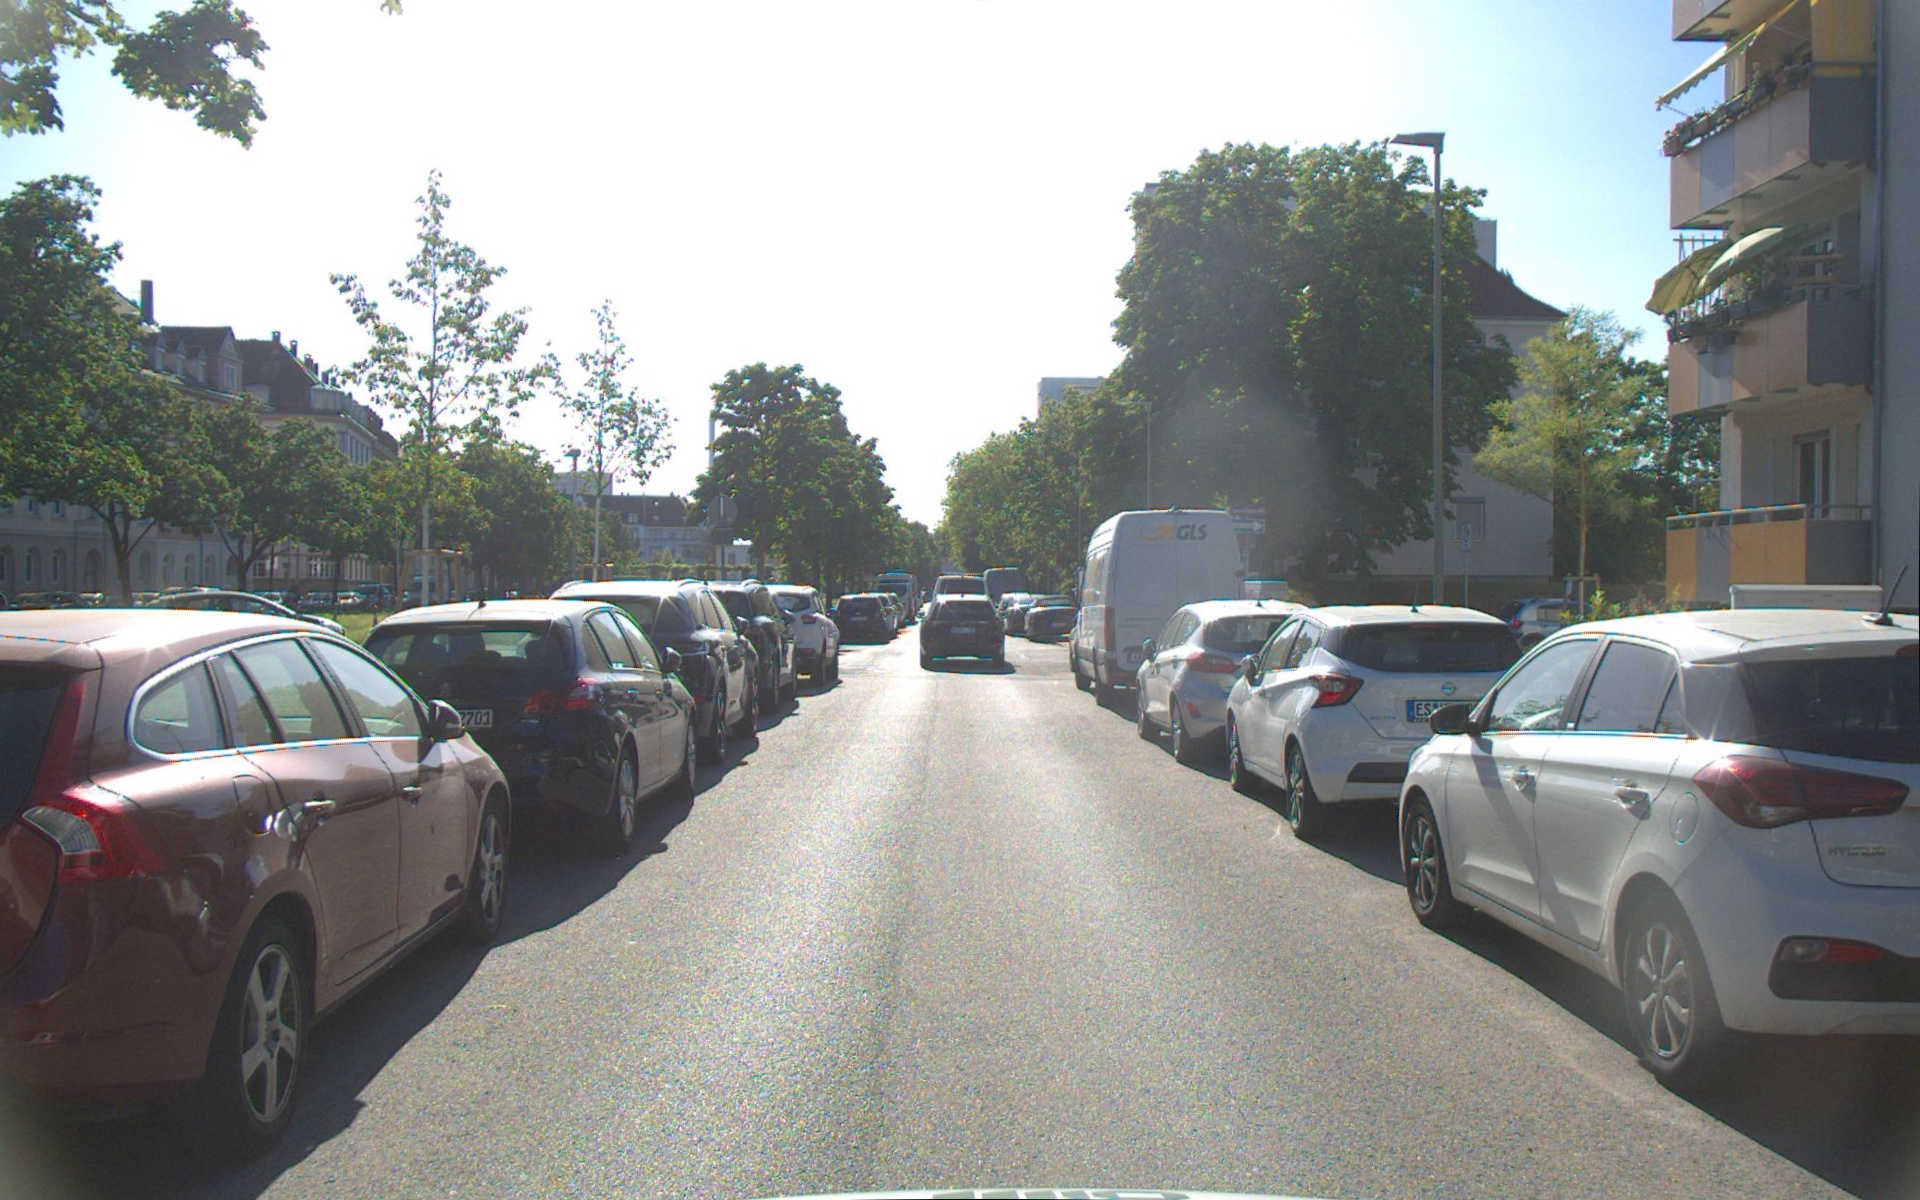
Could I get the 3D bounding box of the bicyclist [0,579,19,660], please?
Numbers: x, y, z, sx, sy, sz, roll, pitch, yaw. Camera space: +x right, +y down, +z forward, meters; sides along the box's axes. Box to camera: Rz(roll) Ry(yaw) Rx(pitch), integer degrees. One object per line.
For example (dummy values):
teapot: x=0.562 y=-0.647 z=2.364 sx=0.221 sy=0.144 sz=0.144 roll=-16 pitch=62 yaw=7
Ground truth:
bicyclist: x=-20.815 y=0.415 z=35.597 sx=0.863 sy=1.720 sz=0.628 roll=-1 pitch=0 yaw=-20

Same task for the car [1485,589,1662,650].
car: x=15.175 y=0.461 z=41.005 sx=3.810 sy=1.454 sz=1.657 roll=0 pitch=0 yaw=-4

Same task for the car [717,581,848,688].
car: x=-3.003 y=0.536 z=28.736 sx=1.720 sy=1.676 sz=4.287 roll=-2 pitch=0 yaw=0

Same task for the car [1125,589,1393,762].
car: x=2.871 y=0.661 z=16.809 sx=1.812 sy=1.491 sz=4.200 roll=1 pitch=1 yaw=-2

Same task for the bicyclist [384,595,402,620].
bicyclist: x=-33.599 y=0.436 z=97.952 sx=0.723 sy=1.463 sz=0.942 roll=-1 pitch=-1 yaw=-1

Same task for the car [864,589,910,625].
car: x=-3.178 y=0.277 z=73.036 sx=1.795 sy=1.526 sz=4.127 roll=0 pitch=0 yaw=1

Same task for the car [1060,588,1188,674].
car: x=3.135 y=0.556 z=32.437 sx=1.919 sy=1.507 sz=4.498 roll=-2 pitch=0 yaw=-1

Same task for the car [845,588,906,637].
car: x=-2.793 y=0.396 z=55.313 sx=1.740 sy=1.521 sz=3.875 roll=-2 pitch=0 yaw=0

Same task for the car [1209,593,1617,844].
car: x=3.065 y=0.713 z=12.126 sx=1.839 sy=1.501 sz=4.140 roll=0 pitch=0 yaw=0

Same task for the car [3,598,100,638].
car: x=-37.791 y=0.725 z=68.903 sx=1.721 sy=1.576 sz=4.525 roll=0 pitch=0 yaw=-3

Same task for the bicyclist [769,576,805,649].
bicyclist: x=-3.883 y=0.280 z=37.183 sx=0.773 sy=1.624 sz=0.696 roll=0 pitch=0 yaw=-4

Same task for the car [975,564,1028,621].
car: x=2.017 y=-0.365 z=82.081 sx=2.120 sy=2.736 sz=5.412 roll=0 pitch=0 yaw=-4

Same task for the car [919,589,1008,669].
car: x=0.096 y=0.567 z=35.143 sx=1.743 sy=1.558 sz=4.000 roll=1 pitch=0 yaw=1

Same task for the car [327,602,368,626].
car: x=-38.122 y=0.877 z=103.041 sx=1.487 sy=1.465 sz=3.230 roll=0 pitch=0 yaw=-3

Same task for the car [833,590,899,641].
car: x=-2.858 y=0.475 z=50.791 sx=1.712 sy=1.449 sz=3.916 roll=-2 pitch=0 yaw=0

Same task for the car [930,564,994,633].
car: x=0.083 y=-0.063 z=52.005 sx=1.855 sy=2.026 sz=4.010 roll=-2 pitch=0 yaw=1

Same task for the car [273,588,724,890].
car: x=-2.788 y=0.726 z=11.101 sx=1.835 sy=1.546 sz=4.469 roll=-2 pitch=0 yaw=-2

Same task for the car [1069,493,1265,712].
car: x=2.898 y=0.005 z=24.778 sx=2.098 sy=2.760 sz=6.842 roll=-2 pitch=0 yaw=1

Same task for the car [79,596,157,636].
car: x=-37.839 y=0.692 z=74.455 sx=1.599 sy=1.716 sz=4.079 roll=0 pitch=0 yaw=-3

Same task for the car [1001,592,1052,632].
car: x=2.403 y=0.411 z=60.543 sx=1.743 sy=1.395 sz=4.127 roll=0 pitch=0 yaw=0

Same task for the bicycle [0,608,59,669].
bicycle: x=-20.688 y=0.831 z=35.655 sx=2.116 sy=1.280 sz=0.710 roll=0 pitch=0 yaw=-21

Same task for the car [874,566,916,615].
car: x=-3.434 y=-0.495 z=87.908 sx=2.055 sy=2.540 sz=4.127 roll=0 pitch=0 yaw=1

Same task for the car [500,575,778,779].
car: x=-2.931 y=0.624 z=16.129 sx=1.782 sy=1.638 sz=4.738 roll=-2 pitch=0 yaw=-1

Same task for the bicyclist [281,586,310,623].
bicyclist: x=-34.585 y=0.240 z=86.083 sx=0.922 sy=1.869 sz=1.449 roll=-1 pitch=-1 yaw=-2

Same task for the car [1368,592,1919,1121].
car: x=3.038 y=0.712 z=6.749 sx=1.686 sy=1.460 sz=4.152 roll=-1 pitch=0 yaw=0

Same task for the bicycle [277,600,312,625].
bicycle: x=-34.601 y=0.659 z=86.032 sx=0.793 sy=1.274 sz=2.634 roll=-1 pitch=-1 yaw=-1

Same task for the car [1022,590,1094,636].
car: x=3.184 y=0.395 z=54.597 sx=2.081 sy=1.361 sz=4.506 roll=-3 pitch=0 yaw=0

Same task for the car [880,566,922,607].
car: x=-4.012 y=-0.911 z=113.357 sx=2.563 sy=2.691 sz=6.114 roll=0 pitch=0 yaw=1

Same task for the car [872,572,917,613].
car: x=-3.212 y=-0.392 z=81.501 sx=2.055 sy=1.976 sz=4.126 roll=0 pitch=0 yaw=0

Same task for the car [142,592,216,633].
car: x=-37.965 y=0.583 z=80.499 sx=1.702 sy=1.941 sz=4.458 roll=0 pitch=0 yaw=-3

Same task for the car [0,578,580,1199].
car: x=-2.711 y=0.719 z=5.933 sx=1.720 sy=1.518 sz=4.666 roll=-2 pitch=0 yaw=-2

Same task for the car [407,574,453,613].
car: x=-38.805 y=-0.505 z=121.247 sx=1.877 sy=2.792 sz=5.622 roll=0 pitch=0 yaw=-3

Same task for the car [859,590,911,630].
car: x=-2.835 y=0.350 z=63.242 sx=1.743 sy=1.487 sz=4.127 roll=0 pitch=0 yaw=0

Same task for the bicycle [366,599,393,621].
bicycle: x=-34.962 y=0.631 z=99.658 sx=0.794 sy=1.274 sz=2.633 roll=2 pitch=-1 yaw=-2

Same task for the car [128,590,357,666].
car: x=-14.932 y=0.546 z=34.536 sx=4.279 sy=1.433 sz=1.906 roll=0 pitch=2 yaw=-25

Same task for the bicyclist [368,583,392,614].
bicyclist: x=-34.948 y=-0.070 z=99.714 sx=0.922 sy=1.869 sz=1.449 roll=-1 pitch=-1 yaw=-2

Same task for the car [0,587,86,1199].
car: x=-2.508 y=0.770 z=1.493 sx=1.554 sy=1.518 sz=3.684 roll=-2 pitch=0 yaw=-2

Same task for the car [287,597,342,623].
car: x=-38.401 y=0.572 z=98.520 sx=1.808 sy=1.465 sz=3.774 roll=0 pitch=0 yaw=-1

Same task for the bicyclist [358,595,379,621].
bicyclist: x=-34.827 y=0.477 z=97.409 sx=0.724 sy=1.461 sz=0.942 roll=-9 pitch=-1 yaw=-1

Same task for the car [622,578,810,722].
car: x=-3.143 y=0.587 z=22.214 sx=1.805 sy=1.667 sz=4.714 roll=-2 pitch=0 yaw=0
